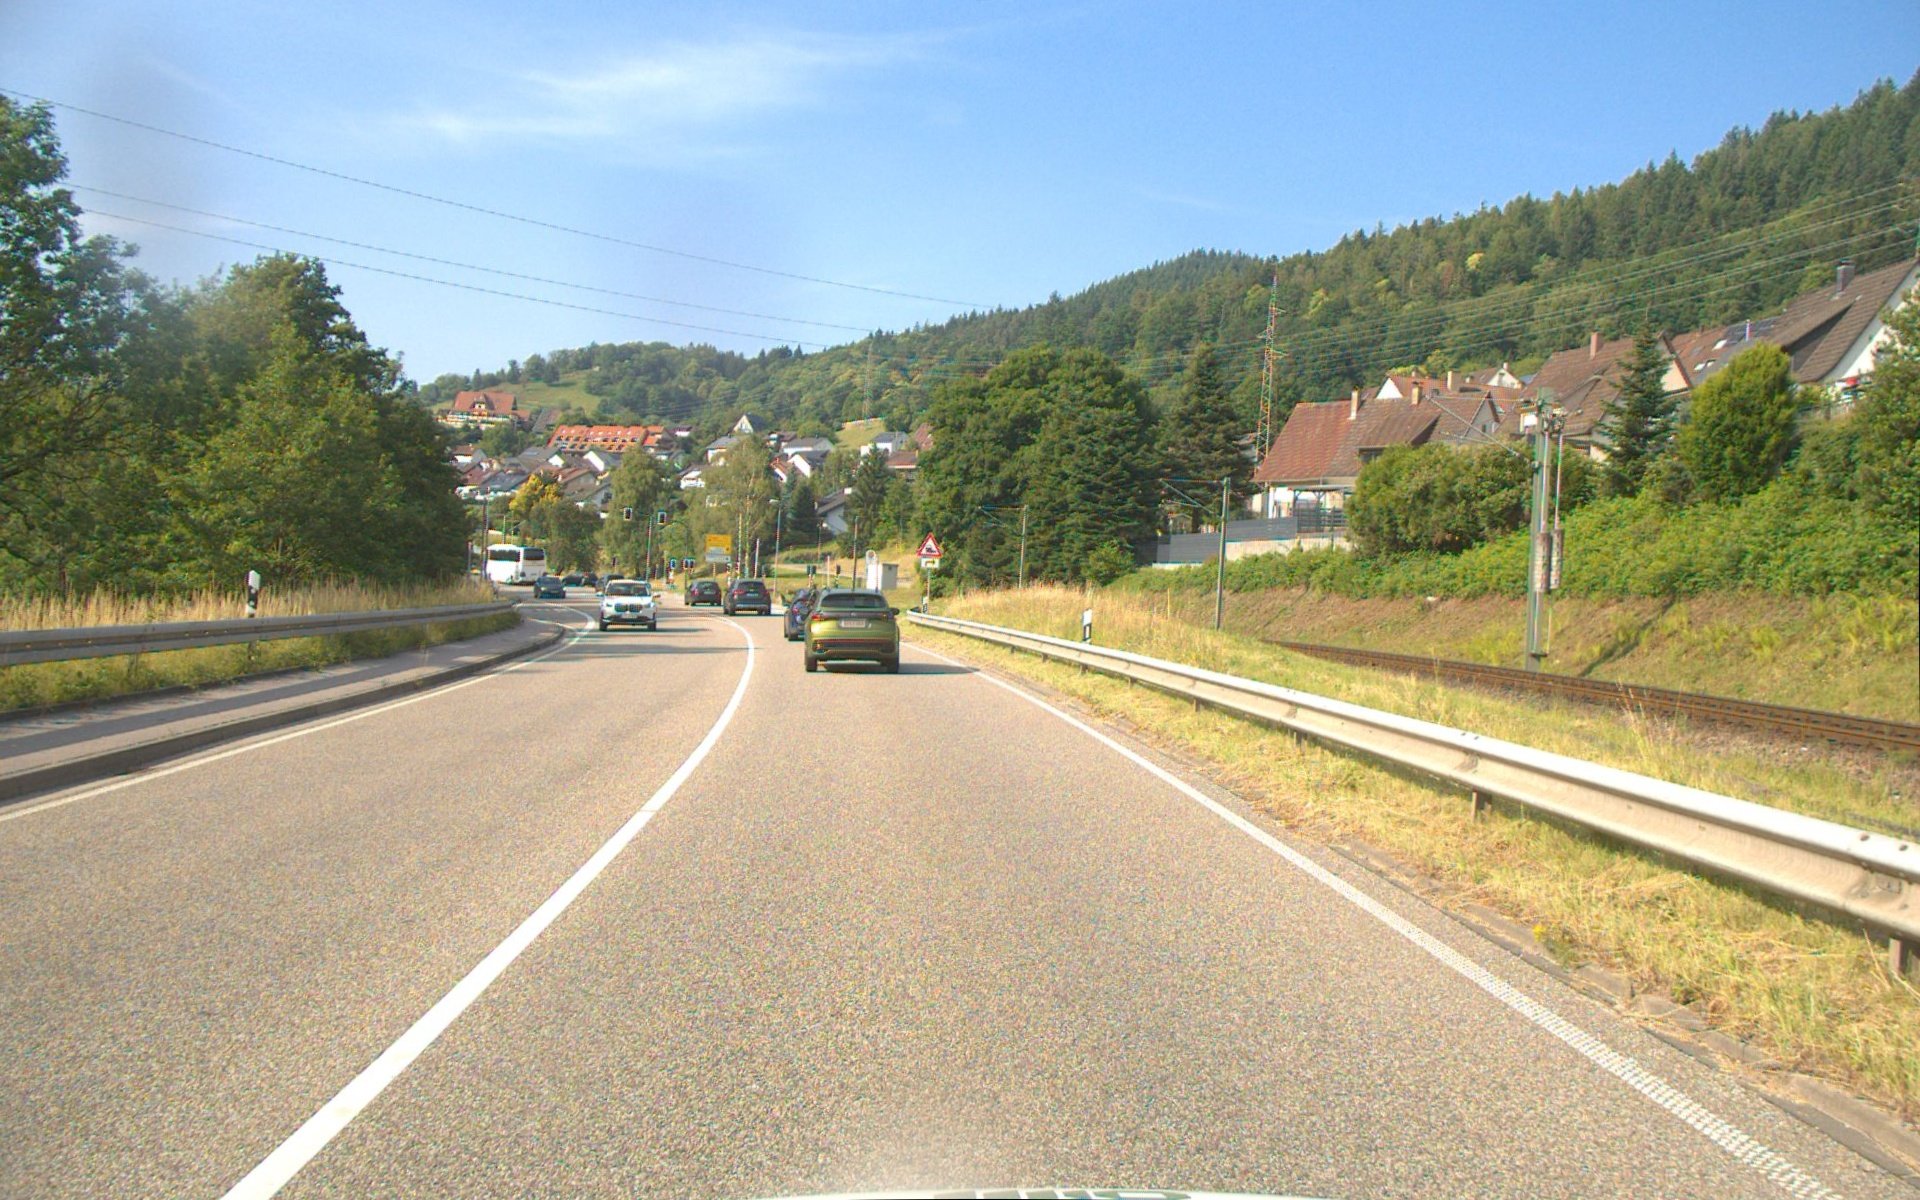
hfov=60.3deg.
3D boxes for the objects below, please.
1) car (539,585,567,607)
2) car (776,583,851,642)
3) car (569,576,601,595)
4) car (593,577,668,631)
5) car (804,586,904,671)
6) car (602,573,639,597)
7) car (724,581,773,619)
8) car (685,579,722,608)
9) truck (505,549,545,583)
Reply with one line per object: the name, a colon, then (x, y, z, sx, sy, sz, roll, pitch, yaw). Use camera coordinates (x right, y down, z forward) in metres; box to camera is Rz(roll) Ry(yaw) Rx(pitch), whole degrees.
car: (-28.073, -0.276, 114.146, 1.859, 1.514, 3.985, 0, 1, -14)
car: (-4.177, 0.340, 46.733, 1.638, 1.586, 3.988, 0, 0, -12)
car: (-37.094, -1.398, 163.481, 1.972, 1.775, 3.960, 2, -1, -30)
car: (-10.739, 0.116, 54.153, 1.955, 1.658, 3.996, 1, 0, -5)
car: (-2.051, 0.495, 31.035, 1.682, 1.480, 3.995, 0, 0, -6)
car: (-27.230, -1.181, 132.592, 2.036, 1.843, 3.970, 1, 1, -24)
car: (-9.771, -0.010, 76.353, 1.847, 1.716, 3.987, 0, 0, -13)
car: (-14.878, -0.405, 95.861, 1.817, 1.553, 3.650, 2, 0, -13)
truck: (-41.960, -3.337, 159.607, 2.677, 3.137, 6.061, 1, 1, -25)
